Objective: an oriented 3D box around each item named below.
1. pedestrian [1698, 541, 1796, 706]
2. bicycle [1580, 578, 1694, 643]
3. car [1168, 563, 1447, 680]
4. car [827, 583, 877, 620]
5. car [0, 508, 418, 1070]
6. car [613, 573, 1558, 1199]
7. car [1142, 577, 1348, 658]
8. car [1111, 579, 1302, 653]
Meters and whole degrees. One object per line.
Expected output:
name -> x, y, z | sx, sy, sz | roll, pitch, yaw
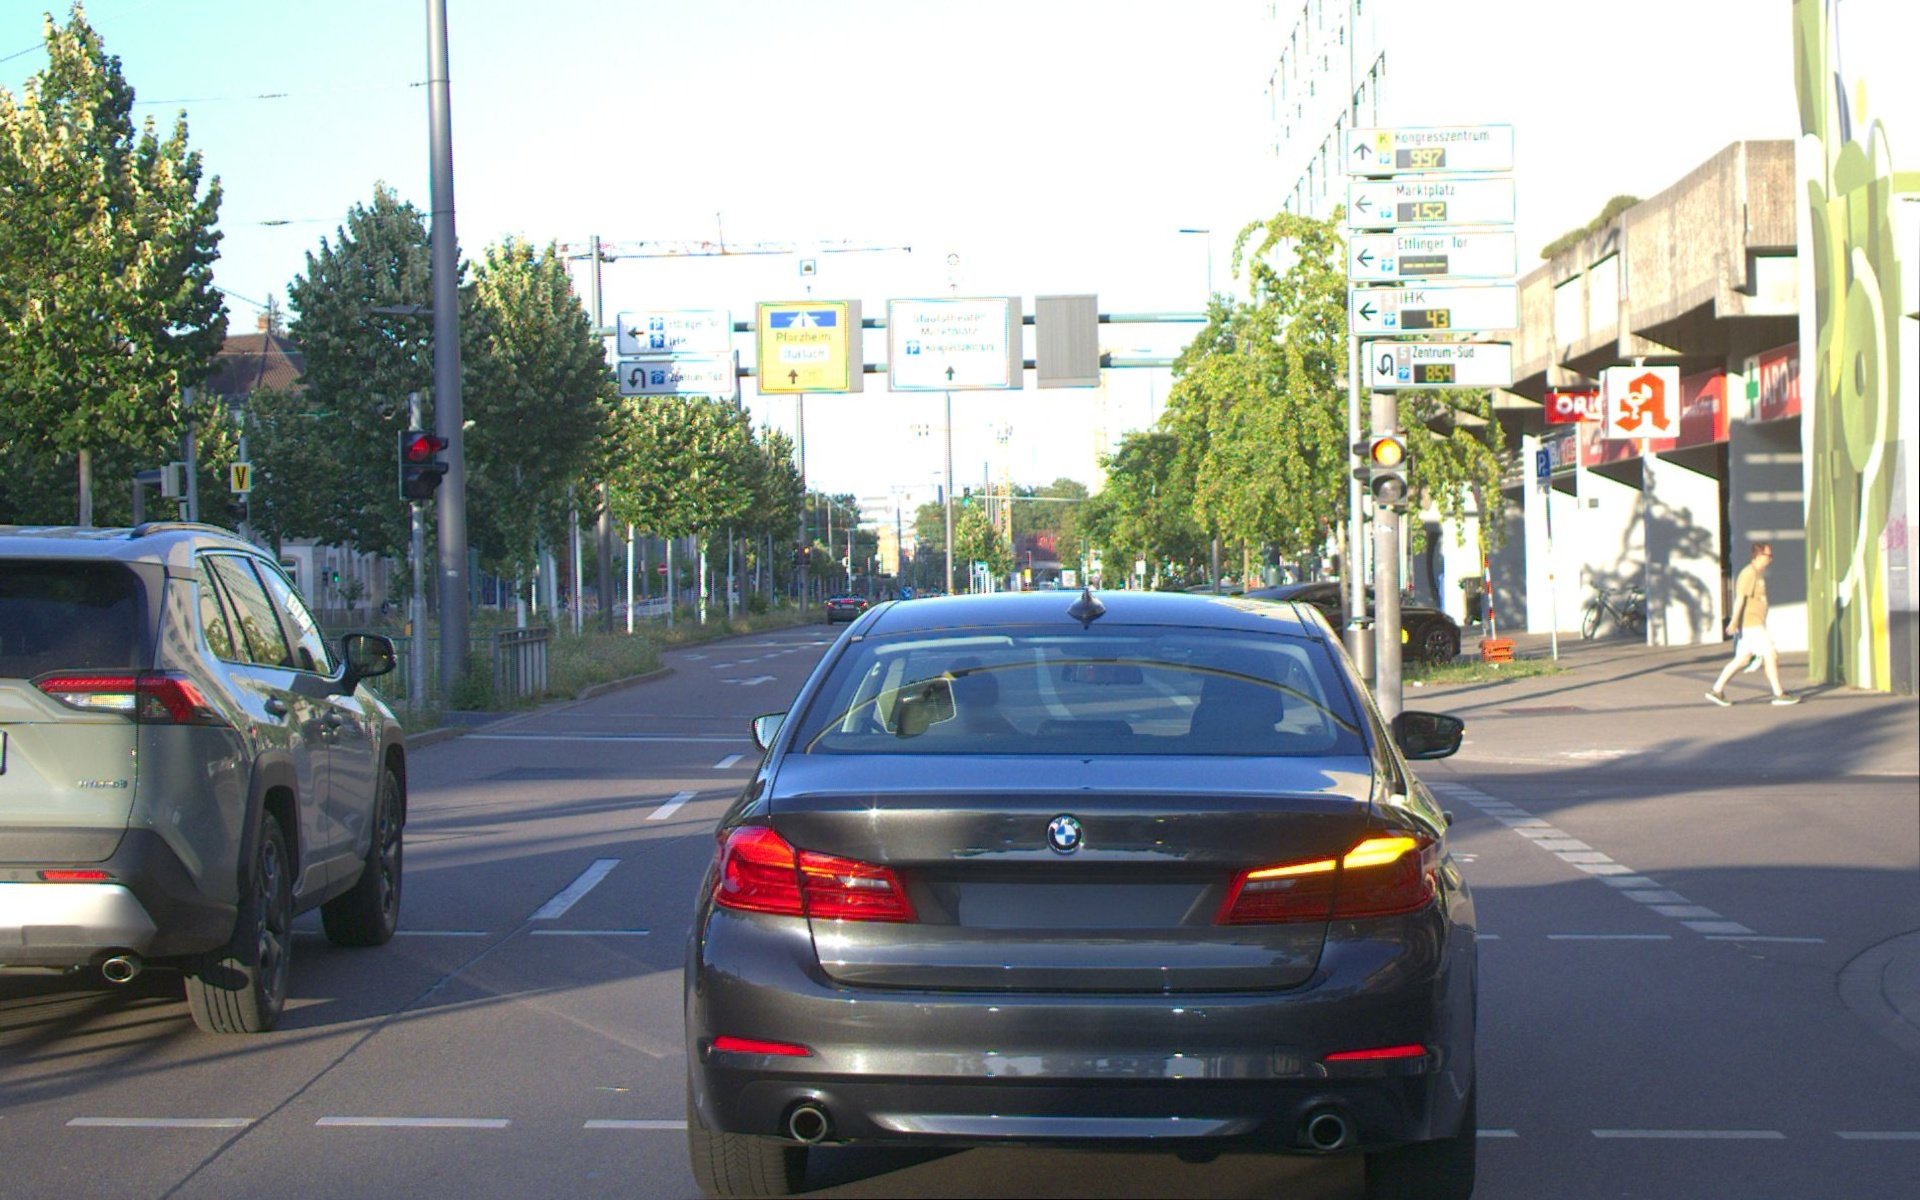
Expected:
pedestrian -> 8.321, 0.245, 36.375 | 0.835, 1.706, 0.648 | -1, 0, -2
bicycle -> 12.728, 0.200, 64.655 | 2.017, 1.145, 0.690 | 2, -1, 6
car -> 5.306, 0.289, 52.168 | 4.256, 1.653, 1.860 | -1, 2, -43
car -> -4.445, 0.045, 142.413 | 1.979, 1.428, 4.843 | 0, 1, -1
car -> -3.167, 0.501, 12.242 | 1.854, 1.653, 4.269 | 0, 1, -1
car -> 0.286, 0.707, 9.317 | 1.932, 1.476, 4.522 | 0, 1, 1
car -> 6.171, 0.359, 74.382 | 4.255, 1.653, 1.860 | -1, 2, -36
car -> 5.811, 0.352, 80.749 | 4.255, 1.653, 1.860 | -1, 2, -35
